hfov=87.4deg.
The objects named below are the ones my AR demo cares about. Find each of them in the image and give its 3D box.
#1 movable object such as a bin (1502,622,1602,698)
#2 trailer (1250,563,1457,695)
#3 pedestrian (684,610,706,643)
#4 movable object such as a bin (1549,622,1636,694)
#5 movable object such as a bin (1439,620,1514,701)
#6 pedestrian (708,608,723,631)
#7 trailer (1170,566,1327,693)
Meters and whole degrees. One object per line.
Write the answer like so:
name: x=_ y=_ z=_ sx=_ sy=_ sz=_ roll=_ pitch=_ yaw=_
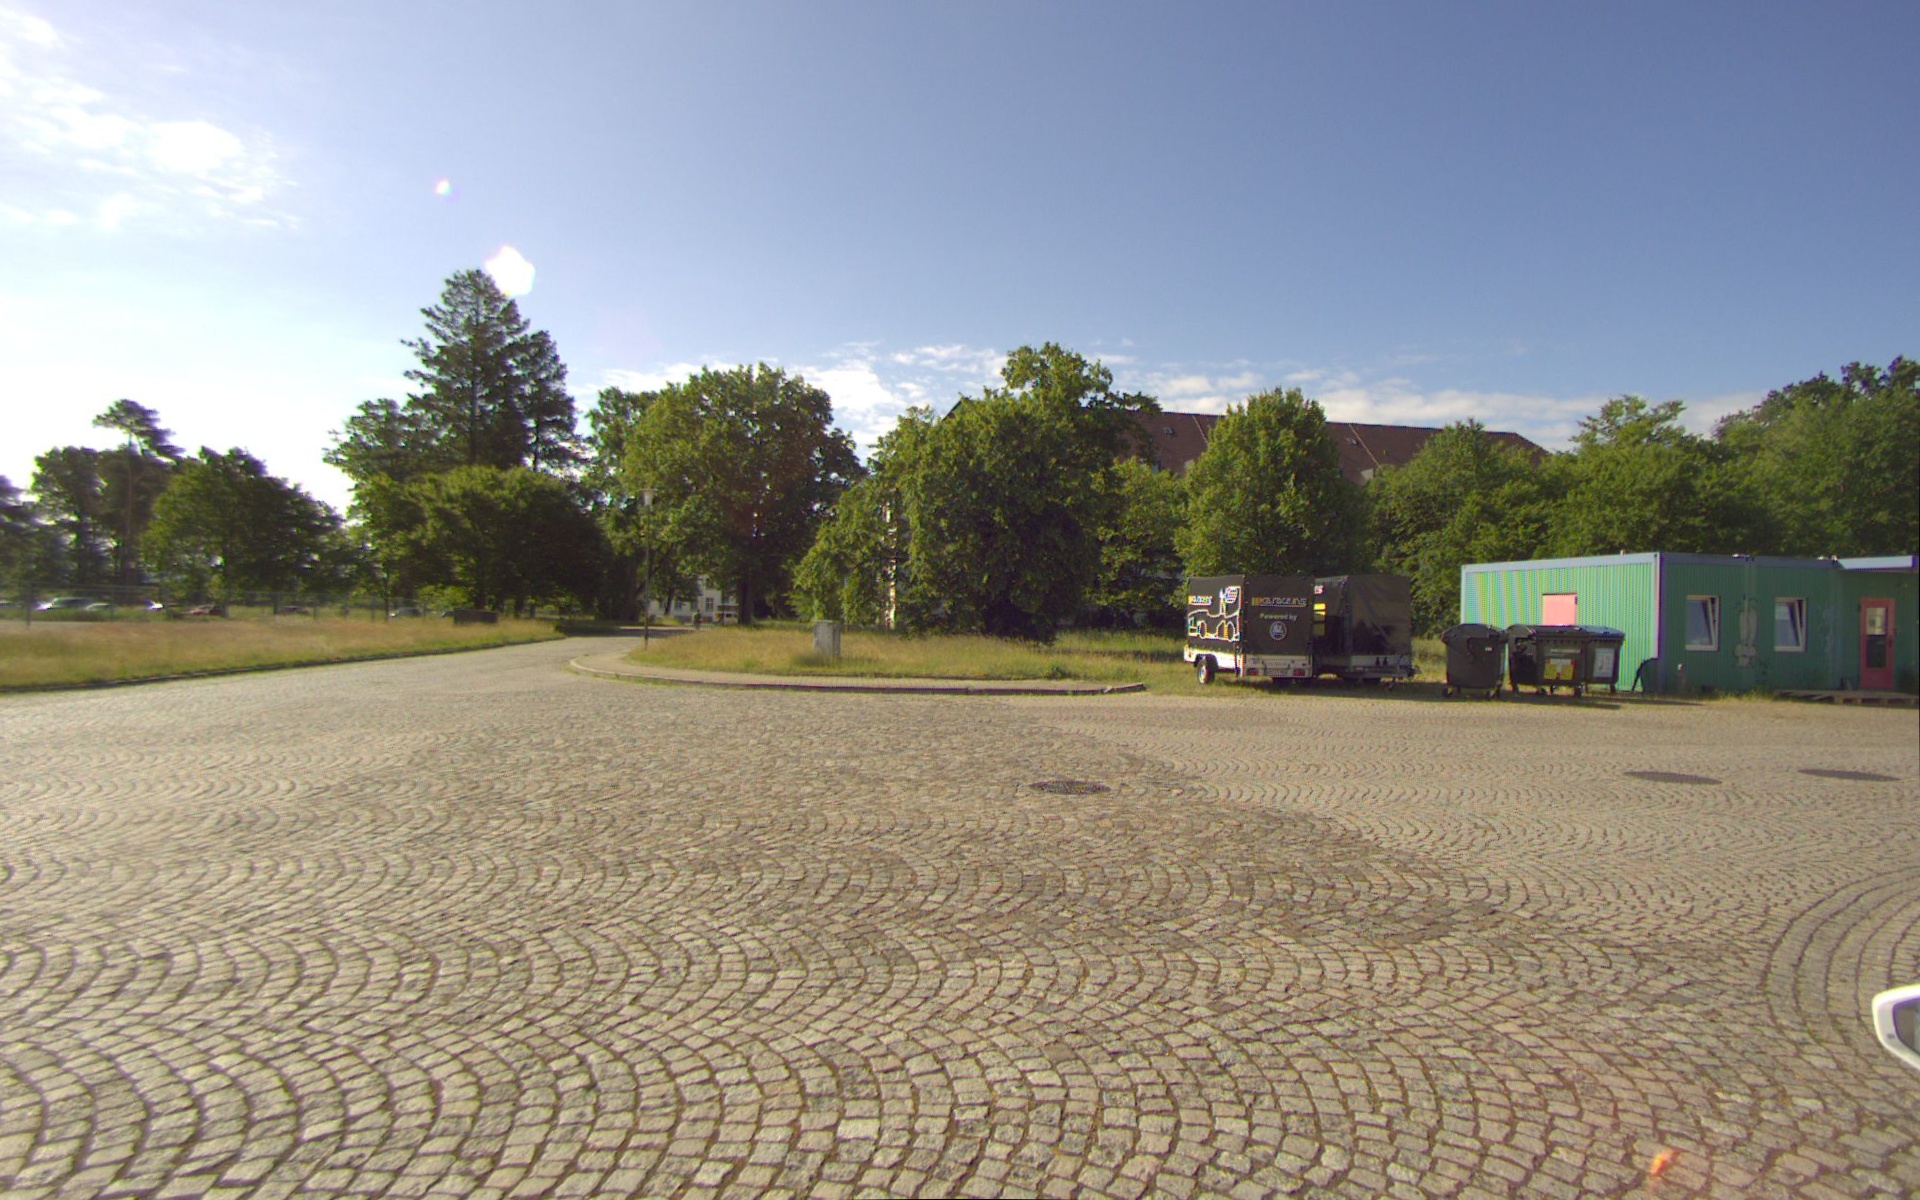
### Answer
movable object such as a bin: x=12.096 y=1.214 z=20.564 sx=1.415 sy=1.477 sz=1.019 roll=2 pitch=0 yaw=-11
trailer: x=8.559 y=0.585 z=22.365 sx=1.918 sy=2.602 sz=4.639 roll=2 pitch=0 yaw=-13
pedestrian: x=-16.404 y=1.632 z=62.118 sx=1.139 sy=1.954 sz=1.125 roll=2 pitch=0 yaw=-8
movable object such as a bin: x=13.593 y=1.241 z=21.606 sx=1.419 sy=1.477 sz=0.880 roll=2 pitch=0 yaw=-21
movable object such as a bin: x=10.141 y=1.147 z=19.698 sx=1.136 sy=1.477 sz=1.435 roll=2 pitch=0 yaw=33
pedestrian: x=-21.884 y=1.752 z=90.028 sx=1.139 sy=1.954 sz=1.322 roll=2 pitch=0 yaw=-8
trailer: x=6.187 y=0.599 z=21.953 sx=2.007 sy=2.502 sz=3.390 roll=2 pitch=0 yaw=-9
